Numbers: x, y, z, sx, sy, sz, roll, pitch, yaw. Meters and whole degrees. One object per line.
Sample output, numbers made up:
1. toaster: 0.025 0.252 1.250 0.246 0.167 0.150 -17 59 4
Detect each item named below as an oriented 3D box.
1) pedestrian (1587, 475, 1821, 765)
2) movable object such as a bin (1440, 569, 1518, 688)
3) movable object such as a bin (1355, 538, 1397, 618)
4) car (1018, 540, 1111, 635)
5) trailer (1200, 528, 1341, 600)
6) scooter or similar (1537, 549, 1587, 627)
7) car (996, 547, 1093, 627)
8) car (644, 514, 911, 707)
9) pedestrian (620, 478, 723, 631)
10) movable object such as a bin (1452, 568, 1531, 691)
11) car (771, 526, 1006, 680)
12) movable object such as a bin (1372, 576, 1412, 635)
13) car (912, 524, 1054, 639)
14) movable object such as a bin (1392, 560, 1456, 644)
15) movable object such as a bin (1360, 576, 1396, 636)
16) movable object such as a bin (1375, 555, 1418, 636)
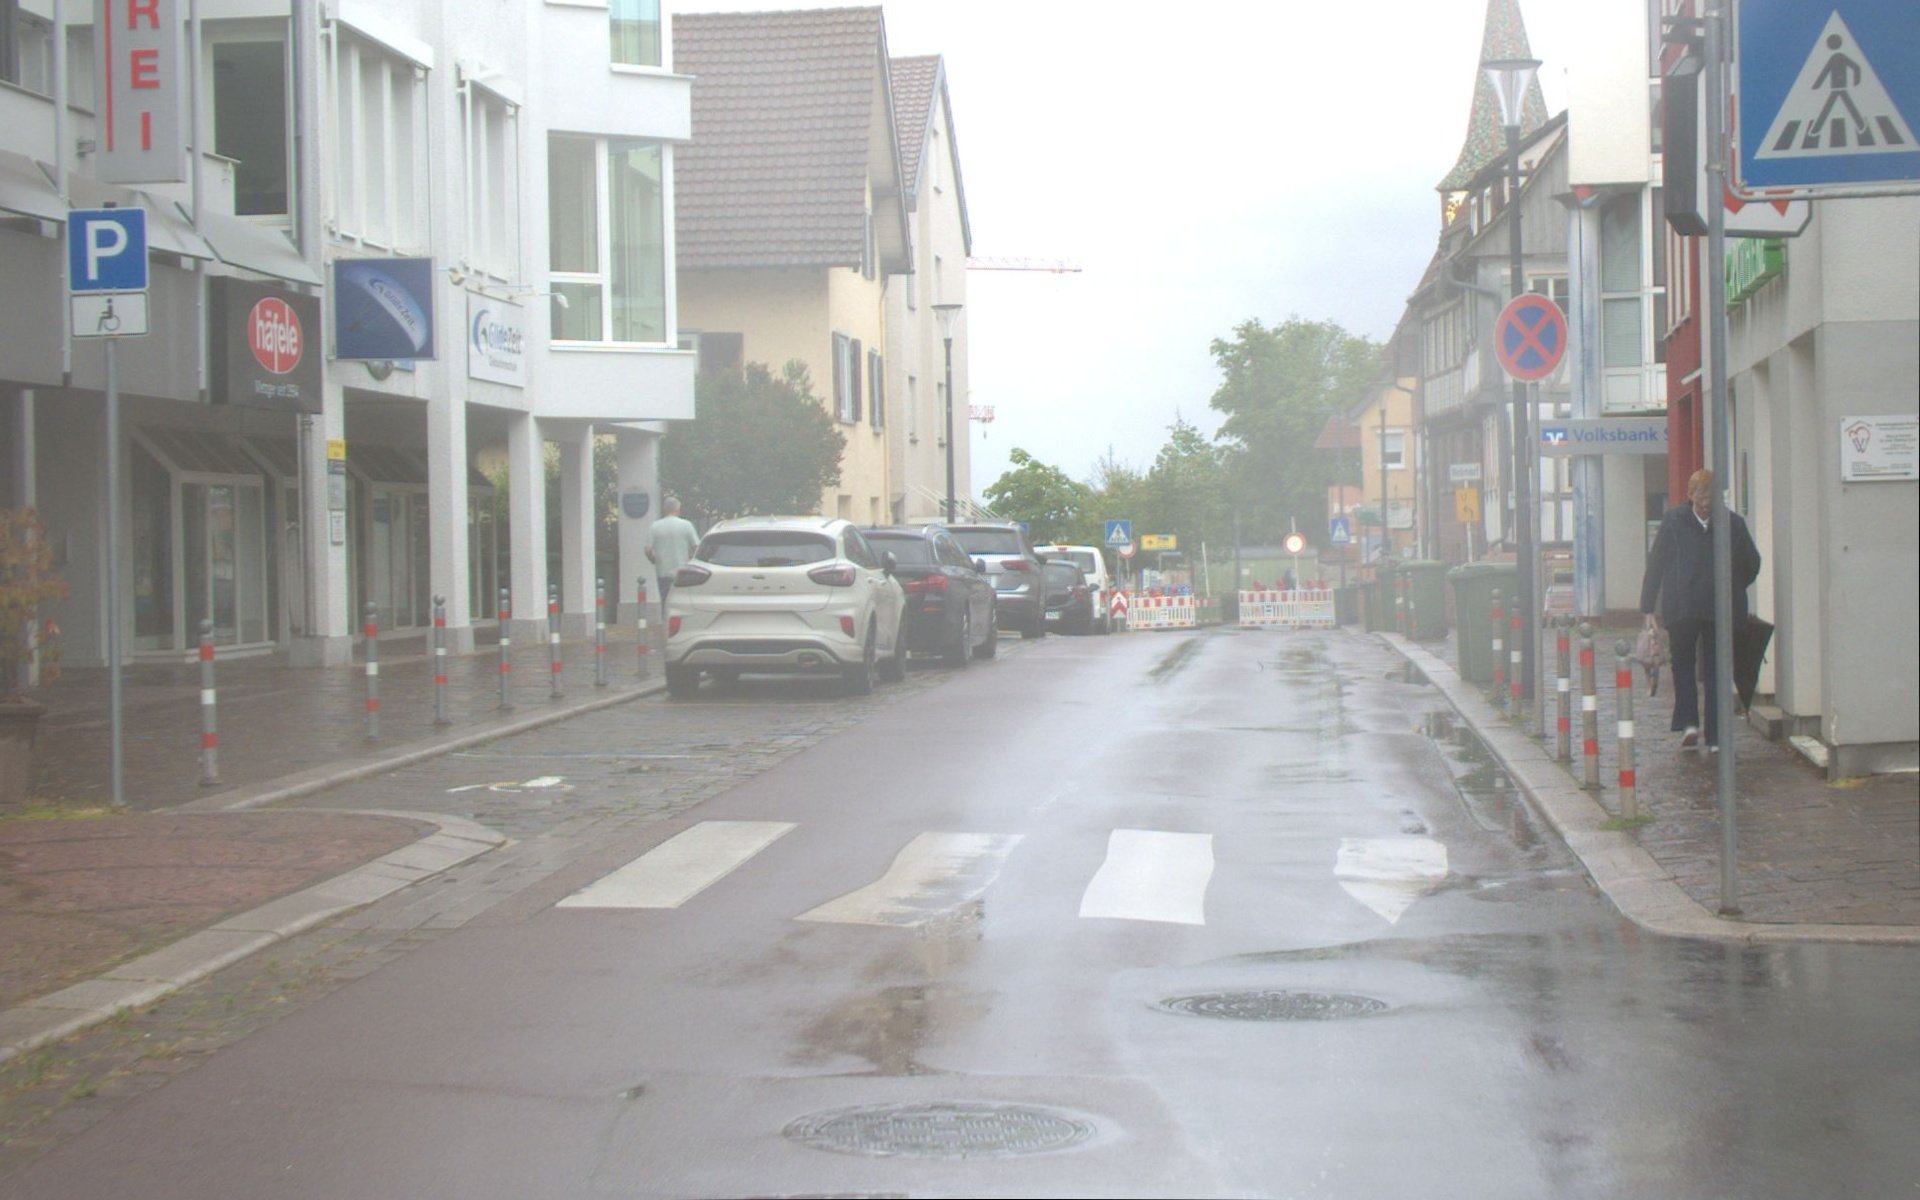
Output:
1. pedestrian: 4.549 0.110 21.110 1.177 1.691 1.177 -2 1 3
2. movable object such as a bin: 4.765 0.260 31.596 0.676 1.080 0.697 0 0 7
3. movable object such as a bin: 6.783 -0.359 56.080 0.638 1.286 0.632 0 -1 11
4. car: 2.100 -0.214 68.341 1.723 1.819 4.427 0 -1 3
5. trailer: 13.093 -1.515 145.105 5.781 2.937 2.000 0 -1 1
6. scooter or similar: 8.977 -0.174 51.253 0.665 1.142 1.445 -1 -1 12
7. car: 1.556 -0.214 62.367 1.681 1.384 3.825 0 -1 2
8. car: -1.544 0.033 30.469 1.792 1.545 4.000 1 2 5
9. pedestrian: -3.418 -0.541 40.830 1.035 1.800 1.116 0 1 6
10. movable object such as a bin: 4.763 0.259 30.850 0.676 1.082 0.718 0 0 7
11. car: -0.684 -0.011 36.706 1.831 1.493 4.762 -1 1 7
12. movable object such as a bin: 7.996 0.107 63.632 0.678 1.093 0.650 0 0 2
13. car: 0.373 -0.229 49.158 1.780 1.563 4.407 0 -1 4
14. movable object such as a bin: 6.269 0.029 46.493 0.804 1.127 0.862 0 -1 4
15. movable object such as a bin: 8.044 0.125 66.110 0.638 1.143 0.603 0 -1 11
16. movable object such as a bin: 7.023 -0.072 55.303 0.638 1.286 0.632 0 -1 11
